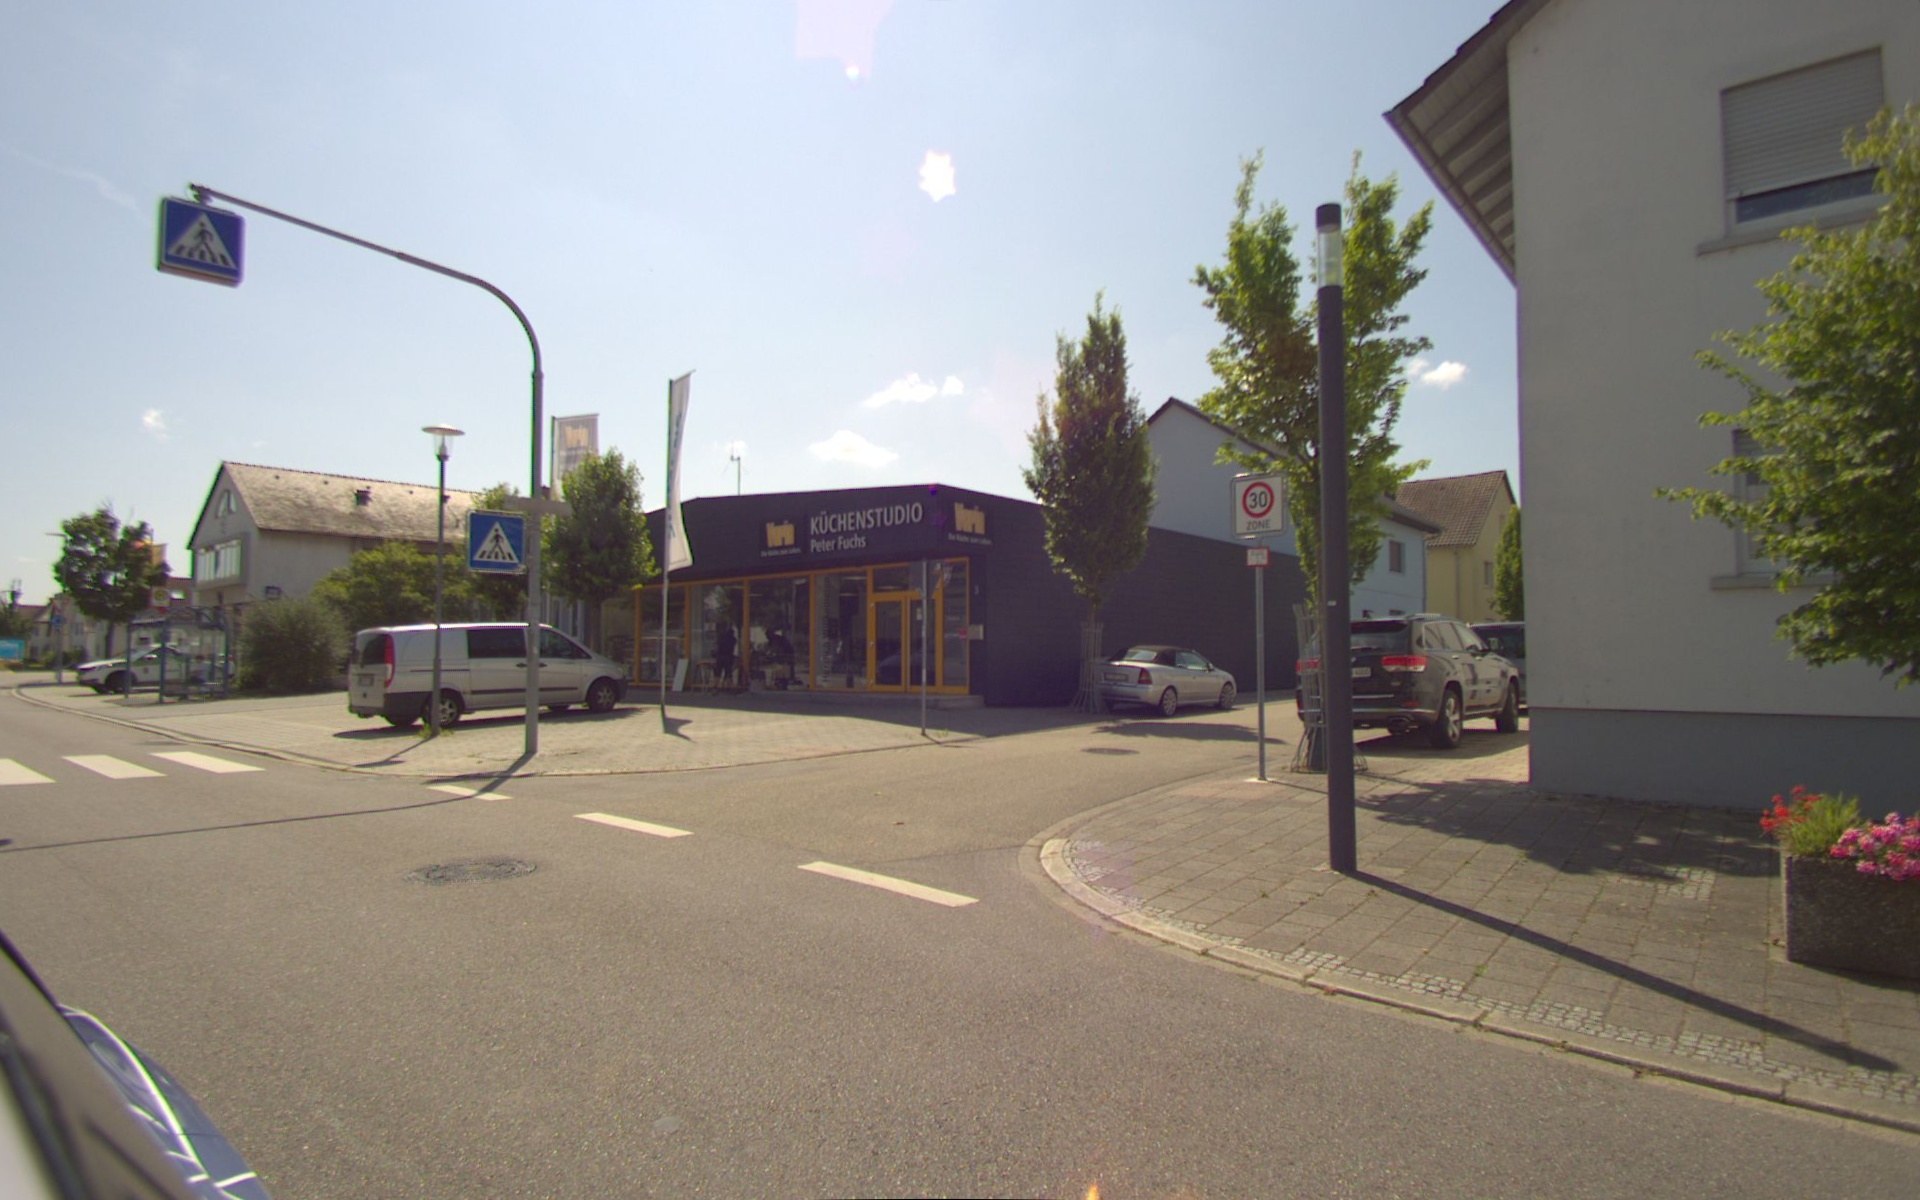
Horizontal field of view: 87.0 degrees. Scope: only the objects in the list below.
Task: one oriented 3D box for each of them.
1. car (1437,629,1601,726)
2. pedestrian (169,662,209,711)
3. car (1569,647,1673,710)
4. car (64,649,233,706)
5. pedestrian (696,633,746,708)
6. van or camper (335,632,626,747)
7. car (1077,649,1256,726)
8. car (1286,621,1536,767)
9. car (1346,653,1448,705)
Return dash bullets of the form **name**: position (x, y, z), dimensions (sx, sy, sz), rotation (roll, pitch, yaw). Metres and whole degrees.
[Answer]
- **car**: position (11.454, 1.537, 20.600), dimensions (1.999, 1.754, 4.378), rotation (-5, -5, 40)
- **pedestrian**: position (-22.313, 2.497, 29.281), dimensions (0.607, 1.369, 0.777), rotation (-3, -4, 41)
- **car**: position (20.020, 2.337, 30.583), dimensions (1.999, 1.754, 4.378), rotation (-5, -5, 40)
- **car**: position (-27.908, 2.620, 34.919), dimensions (1.941, 1.732, 4.203), rotation (-2, -2, 35)
- **pedestrian**: position (-5.822, 1.708, 24.696), dimensions (0.922, 1.788, 1.069), rotation (0, -3, 4)
- **van or camper**: position (-9.085, 1.614, 19.530), dimensions (1.998, 1.877, 4.693), rotation (-4, -3, 39)
- **car**: position (4.516, 1.817, 21.695), dimensions (1.866, 1.474, 4.378), rotation (-3, -4, 40)
- **car**: position (6.501, 1.251, 14.320), dimensions (1.999, 1.729, 4.378), rotation (-5, -5, 40)
- **car**: position (14.161, 2.524, 32.672), dimensions (1.865, 1.474, 4.380), rotation (0, -3, 40)
